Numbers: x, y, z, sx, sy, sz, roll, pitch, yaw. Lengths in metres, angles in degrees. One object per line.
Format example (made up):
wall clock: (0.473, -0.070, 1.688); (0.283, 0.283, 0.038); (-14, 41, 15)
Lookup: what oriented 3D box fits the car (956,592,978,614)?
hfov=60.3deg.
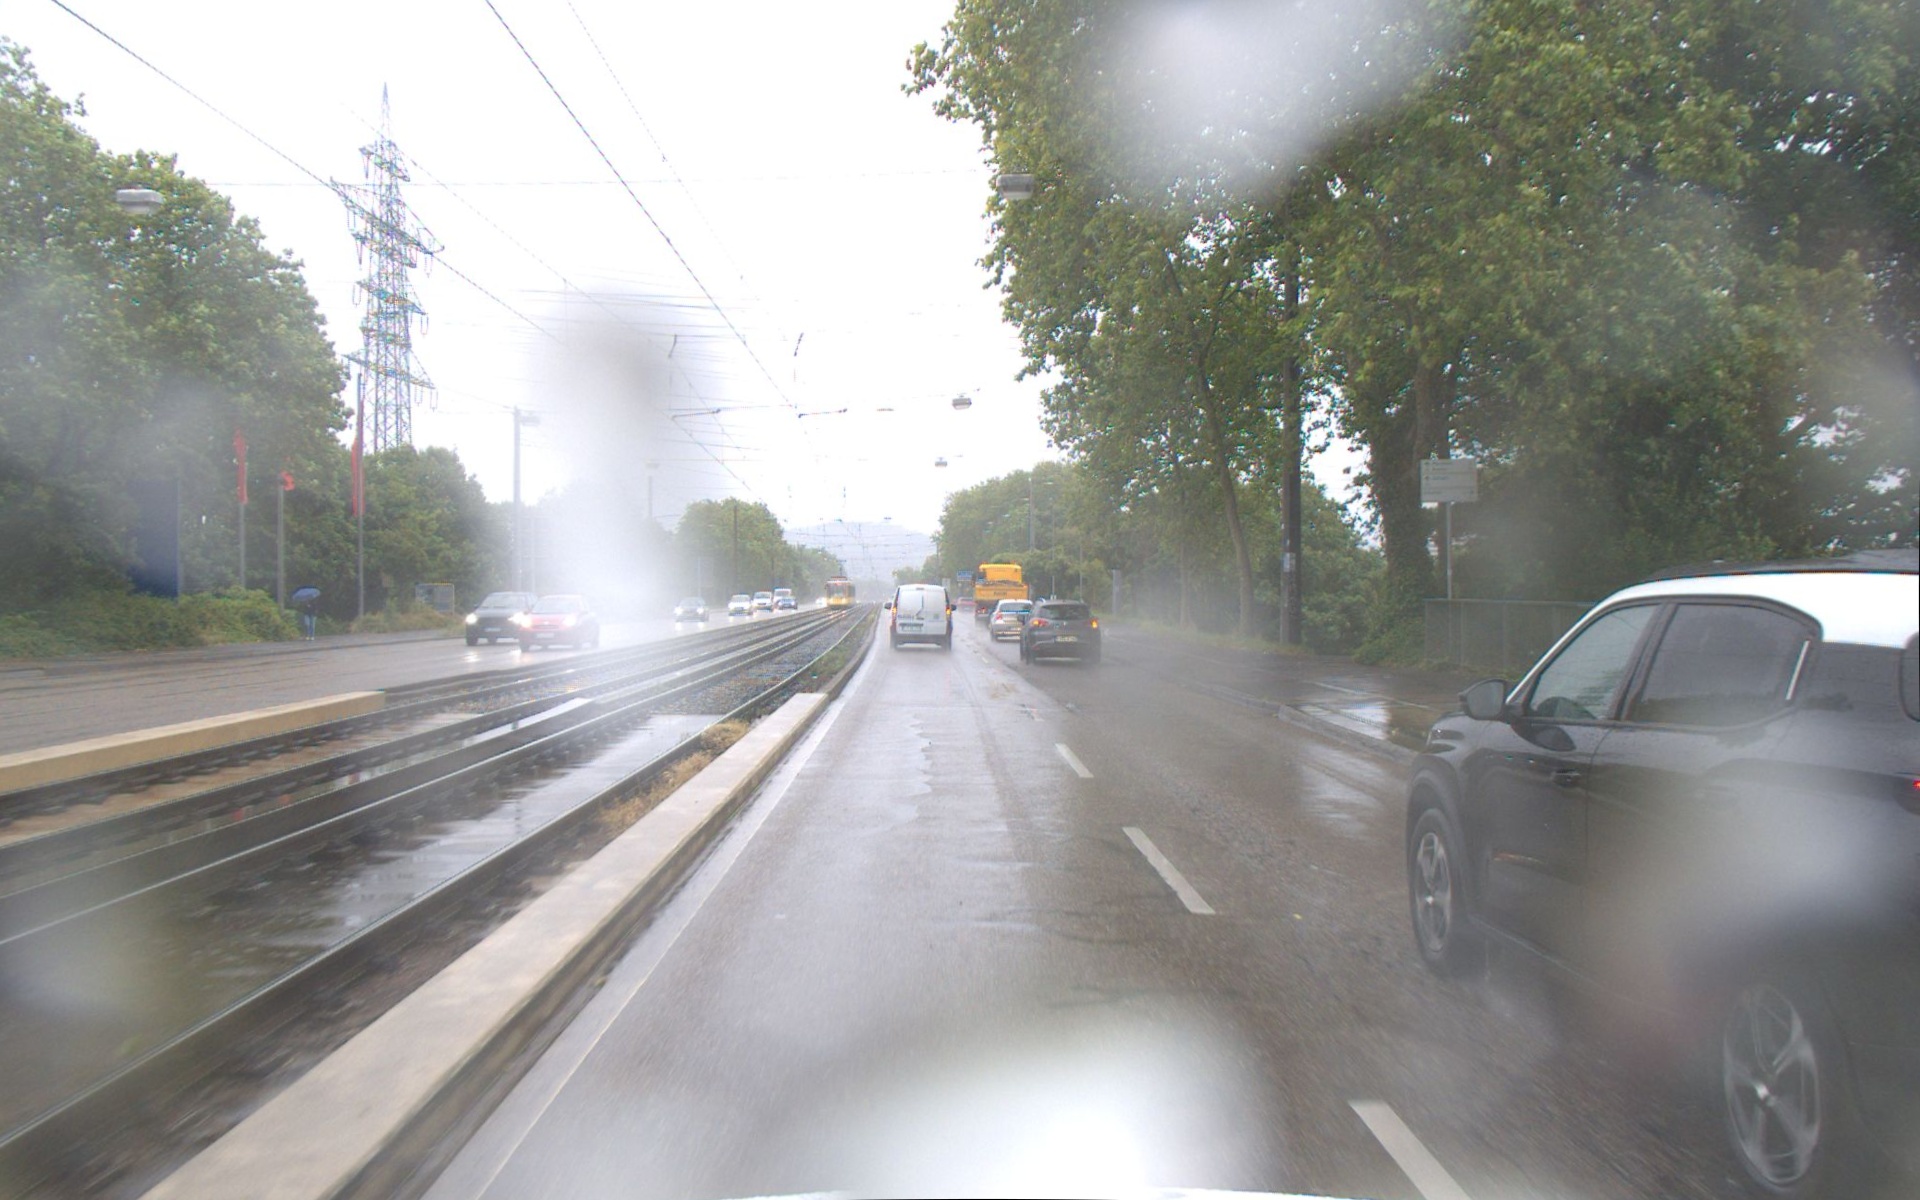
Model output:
car: (0.620, 0.237, 152.196); (1.953, 1.937, 4.000); (1, 0, 0)

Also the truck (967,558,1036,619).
truck: (1.953, -0.580, 80.214); (3.050, 2.821, 6.328); (1, 1, -1)

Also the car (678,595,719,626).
car: (-16.754, 0.661, 106.214); (1.952, 1.937, 4.000); (1, 0, 0)

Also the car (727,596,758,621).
car: (-17.739, 0.645, 135.110); (1.952, 1.937, 4.000); (1, 0, 0)

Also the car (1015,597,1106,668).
car: (2.234, 0.703, 37.608); (1.781, 1.438, 3.778); (1, 1, 0)

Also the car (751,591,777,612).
car: (-18.558, 0.137, 156.579); (1.952, 1.937, 4.000); (1, 0, 0)

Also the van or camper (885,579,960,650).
van or camper: (-1.114, 0.381, 46.891); (1.954, 1.815, 3.998); (1, 1, -3)

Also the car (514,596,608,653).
car: (-11.182, 0.661, 46.576); (1.623, 1.512, 4.013); (0, 0, 0)

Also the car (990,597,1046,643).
car: (1.987, 0.668, 57.911); (1.781, 1.438, 3.778); (1, 1, 0)

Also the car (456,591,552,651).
car: (-14.557, 0.632, 53.042); (1.952, 1.847, 4.000); (0, 0, 0)

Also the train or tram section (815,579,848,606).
train or tram section: (-14.538, -0.905, 188.388); (2.792, 2.944, 14.005); (-1, 1, 0)

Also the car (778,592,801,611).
car: (-18.353, 0.154, 178.404); (1.952, 1.937, 4.000); (1, 0, 0)

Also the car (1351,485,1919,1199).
car: (2.853, 0.610, 5.473); (1.861, 1.746, 4.724); (1, 1, -2)
